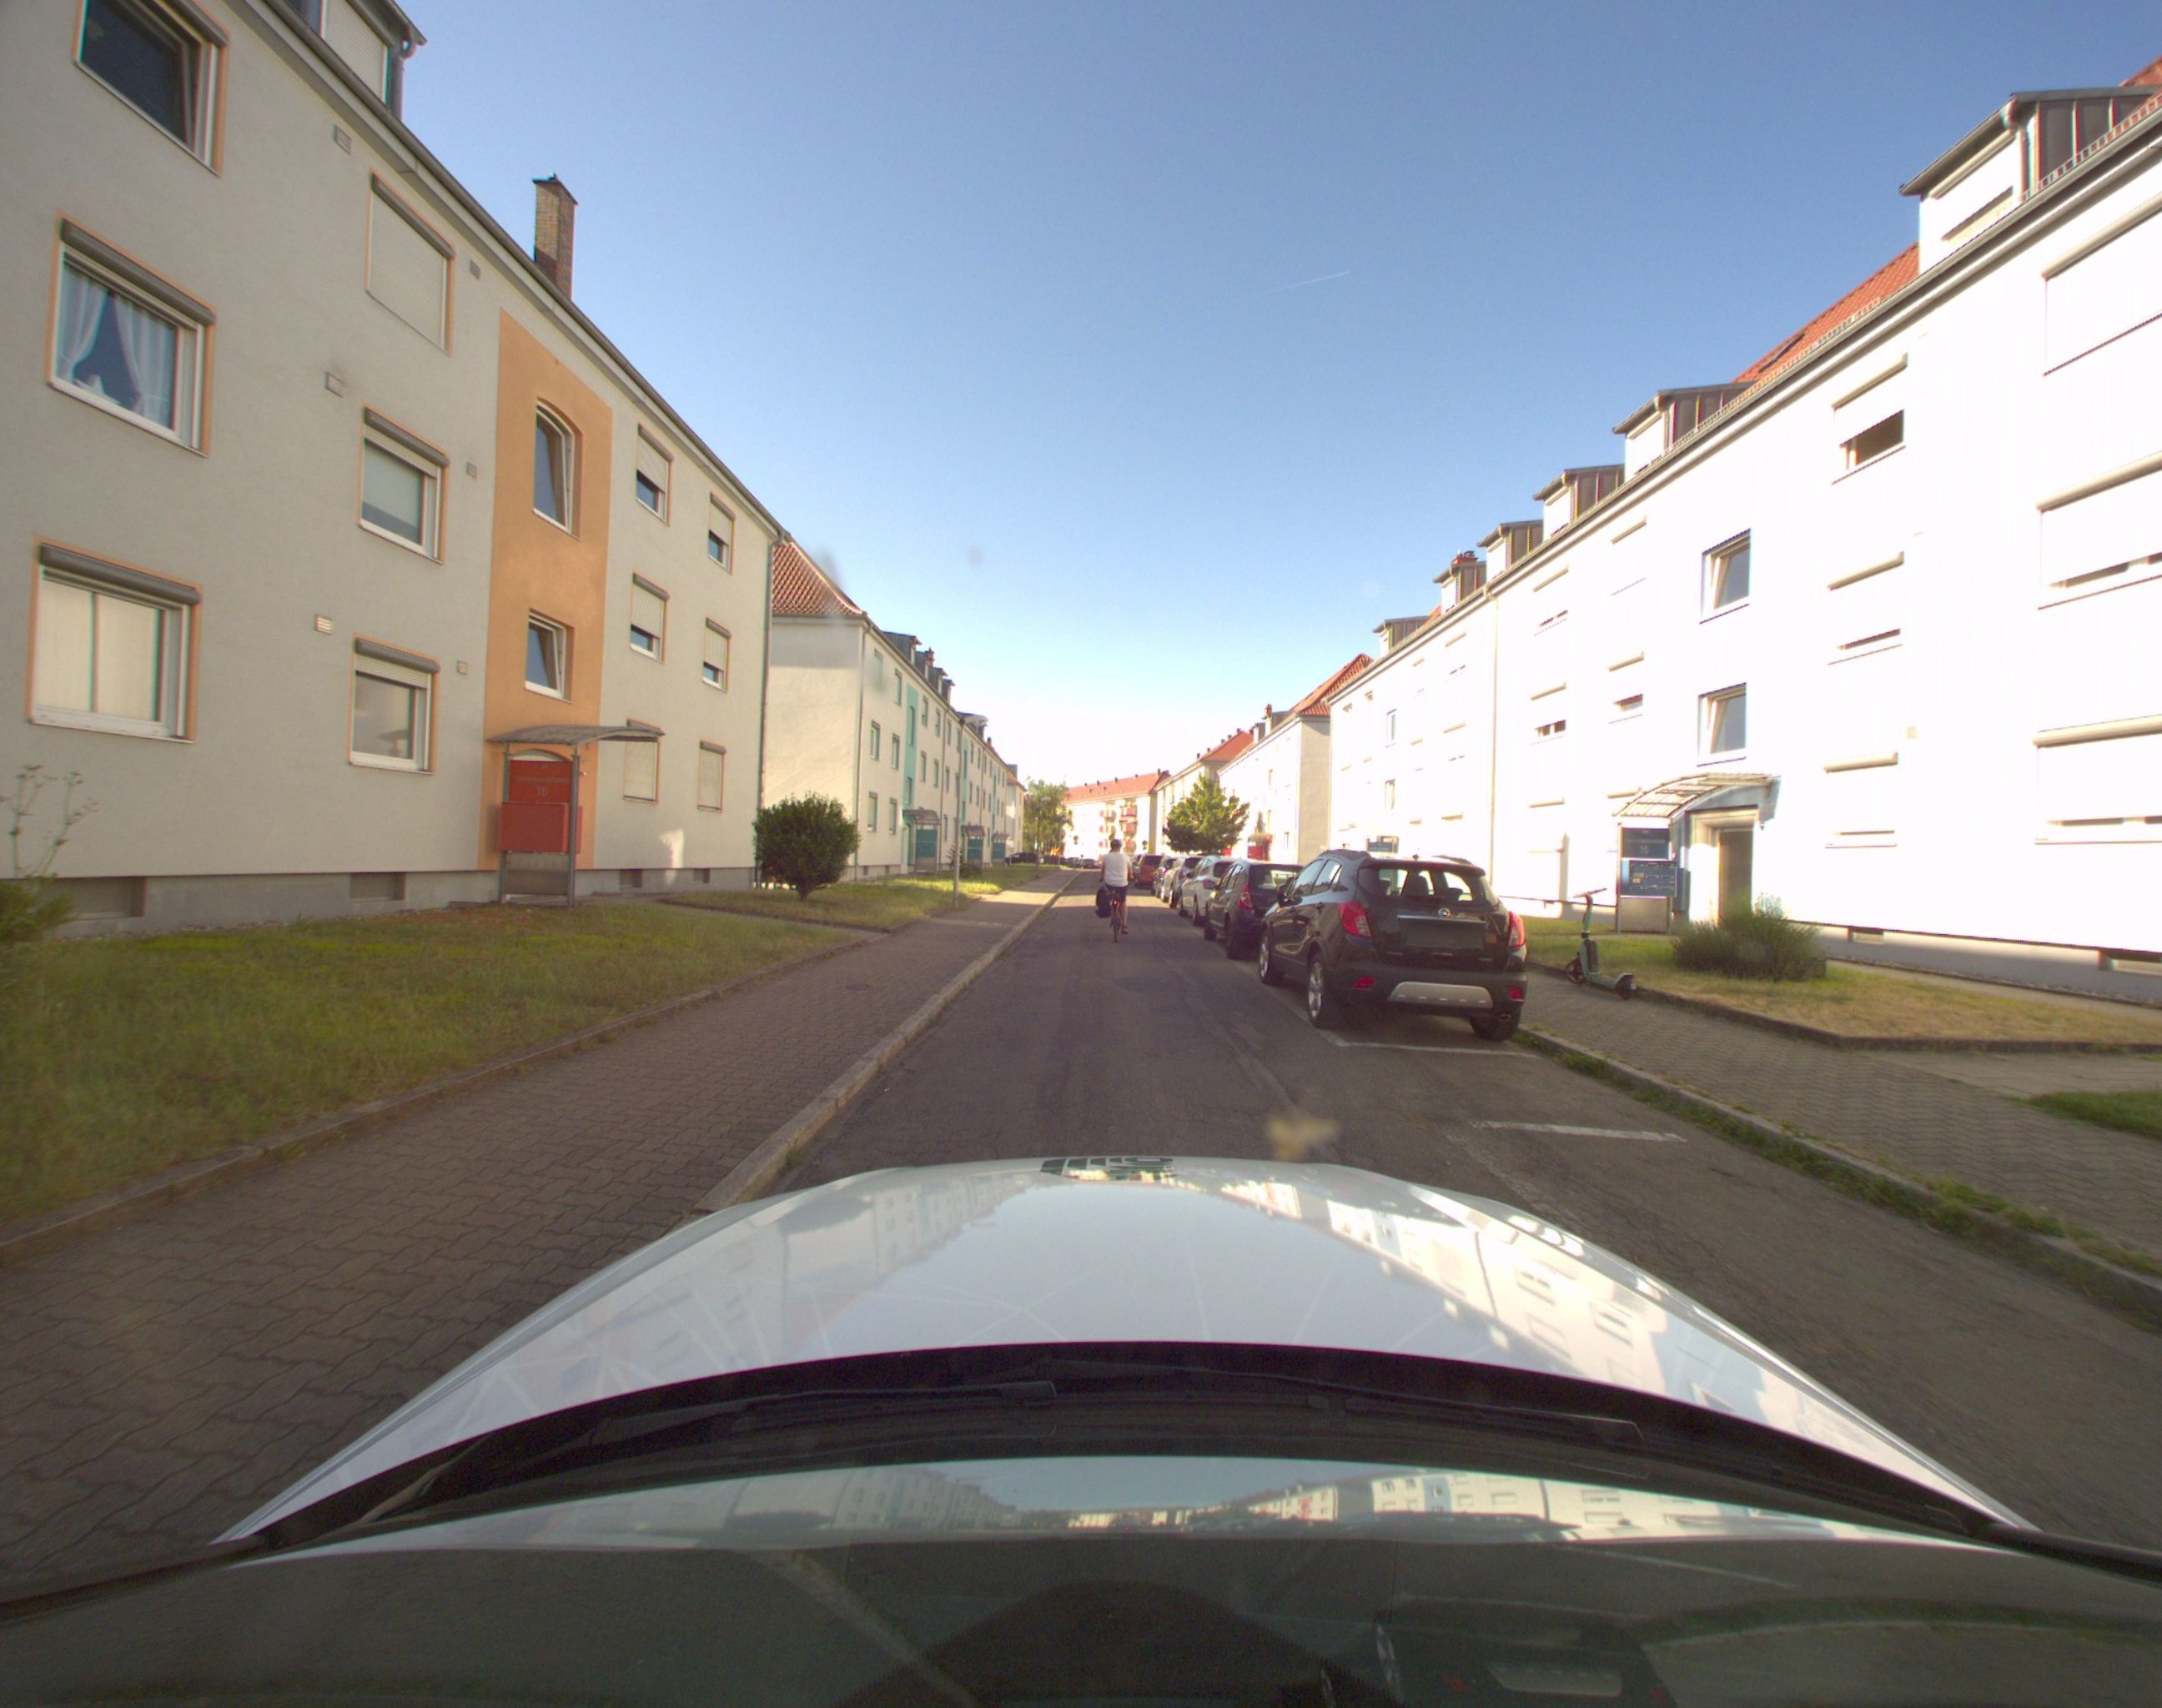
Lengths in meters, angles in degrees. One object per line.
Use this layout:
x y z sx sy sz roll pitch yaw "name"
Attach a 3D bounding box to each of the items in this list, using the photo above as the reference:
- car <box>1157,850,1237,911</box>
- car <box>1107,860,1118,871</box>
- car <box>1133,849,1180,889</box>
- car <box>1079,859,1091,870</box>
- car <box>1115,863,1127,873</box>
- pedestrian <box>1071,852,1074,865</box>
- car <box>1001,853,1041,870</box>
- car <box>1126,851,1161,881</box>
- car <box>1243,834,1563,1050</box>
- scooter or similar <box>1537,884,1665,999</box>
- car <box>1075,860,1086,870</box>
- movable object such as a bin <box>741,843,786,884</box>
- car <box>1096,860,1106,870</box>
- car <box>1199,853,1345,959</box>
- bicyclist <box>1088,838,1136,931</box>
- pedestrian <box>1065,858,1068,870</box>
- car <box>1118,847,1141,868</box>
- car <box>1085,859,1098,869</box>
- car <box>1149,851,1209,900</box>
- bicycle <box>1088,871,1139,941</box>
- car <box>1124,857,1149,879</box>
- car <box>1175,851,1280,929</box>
3.538 0.754 25.557 1.745 1.617 4.450 4 0 -1 "car"
4.695 1.724 121.965 1.377 1.497 3.076 2 0 -1 "car"
3.504 0.695 38.431 1.855 1.668 4.128 3 0 1 "car"
0.526 1.377 109.989 1.466 1.335 3.137 -2 0 -3 "car"
5.644 1.925 115.118 1.465 1.335 3.139 3 0 -1 "car"
-1.068 0.559 101.818 0.433 1.574 0.543 1 0 1 "pedestrian"
-6.374 0.806 86.939 4.222 1.638 1.581 1 0 -3 "car"
3.720 0.698 49.317 1.695 1.671 4.378 3 0 0 "car"
3.038 0.710 8.802 1.776 1.648 4.471 3 0 2 "car"
5.976 0.962 9.456 0.482 1.149 1.589 -2 0 2 "scooter or similar"
-0.050 1.522 116.664 1.465 1.335 3.138 -2 0 -2 "car"
-10.941 0.318 28.101 1.250 1.356 0.903 1 0 -11 "movable object such as a bin"
3.346 1.859 134.718 1.465 1.516 3.076 2 0 -1 "car"
3.076 0.758 13.900 1.635 1.498 4.158 1 0 2 "car"
0.559 0.540 14.919 0.806 1.643 0.898 1 0 -1 "bicyclist"
-1.806 1.252 101.882 0.433 1.427 0.543 1 0 0 "pedestrian"
4.309 0.325 72.529 1.669 1.739 3.941 2 0 -1 "car"
1.343 1.280 105.629 1.466 1.335 3.137 -2 0 -3 "car"
3.596 0.768 30.646 1.706 1.595 4.398 4 0 1 "car"
0.556 0.904 14.836 0.806 1.128 2.101 1 0 -1 "bicycle"
3.929 0.980 58.270 1.553 1.411 3.934 2 0 1 "car"
3.368 0.767 19.505 1.685 1.575 4.434 3 0 0 "car"
